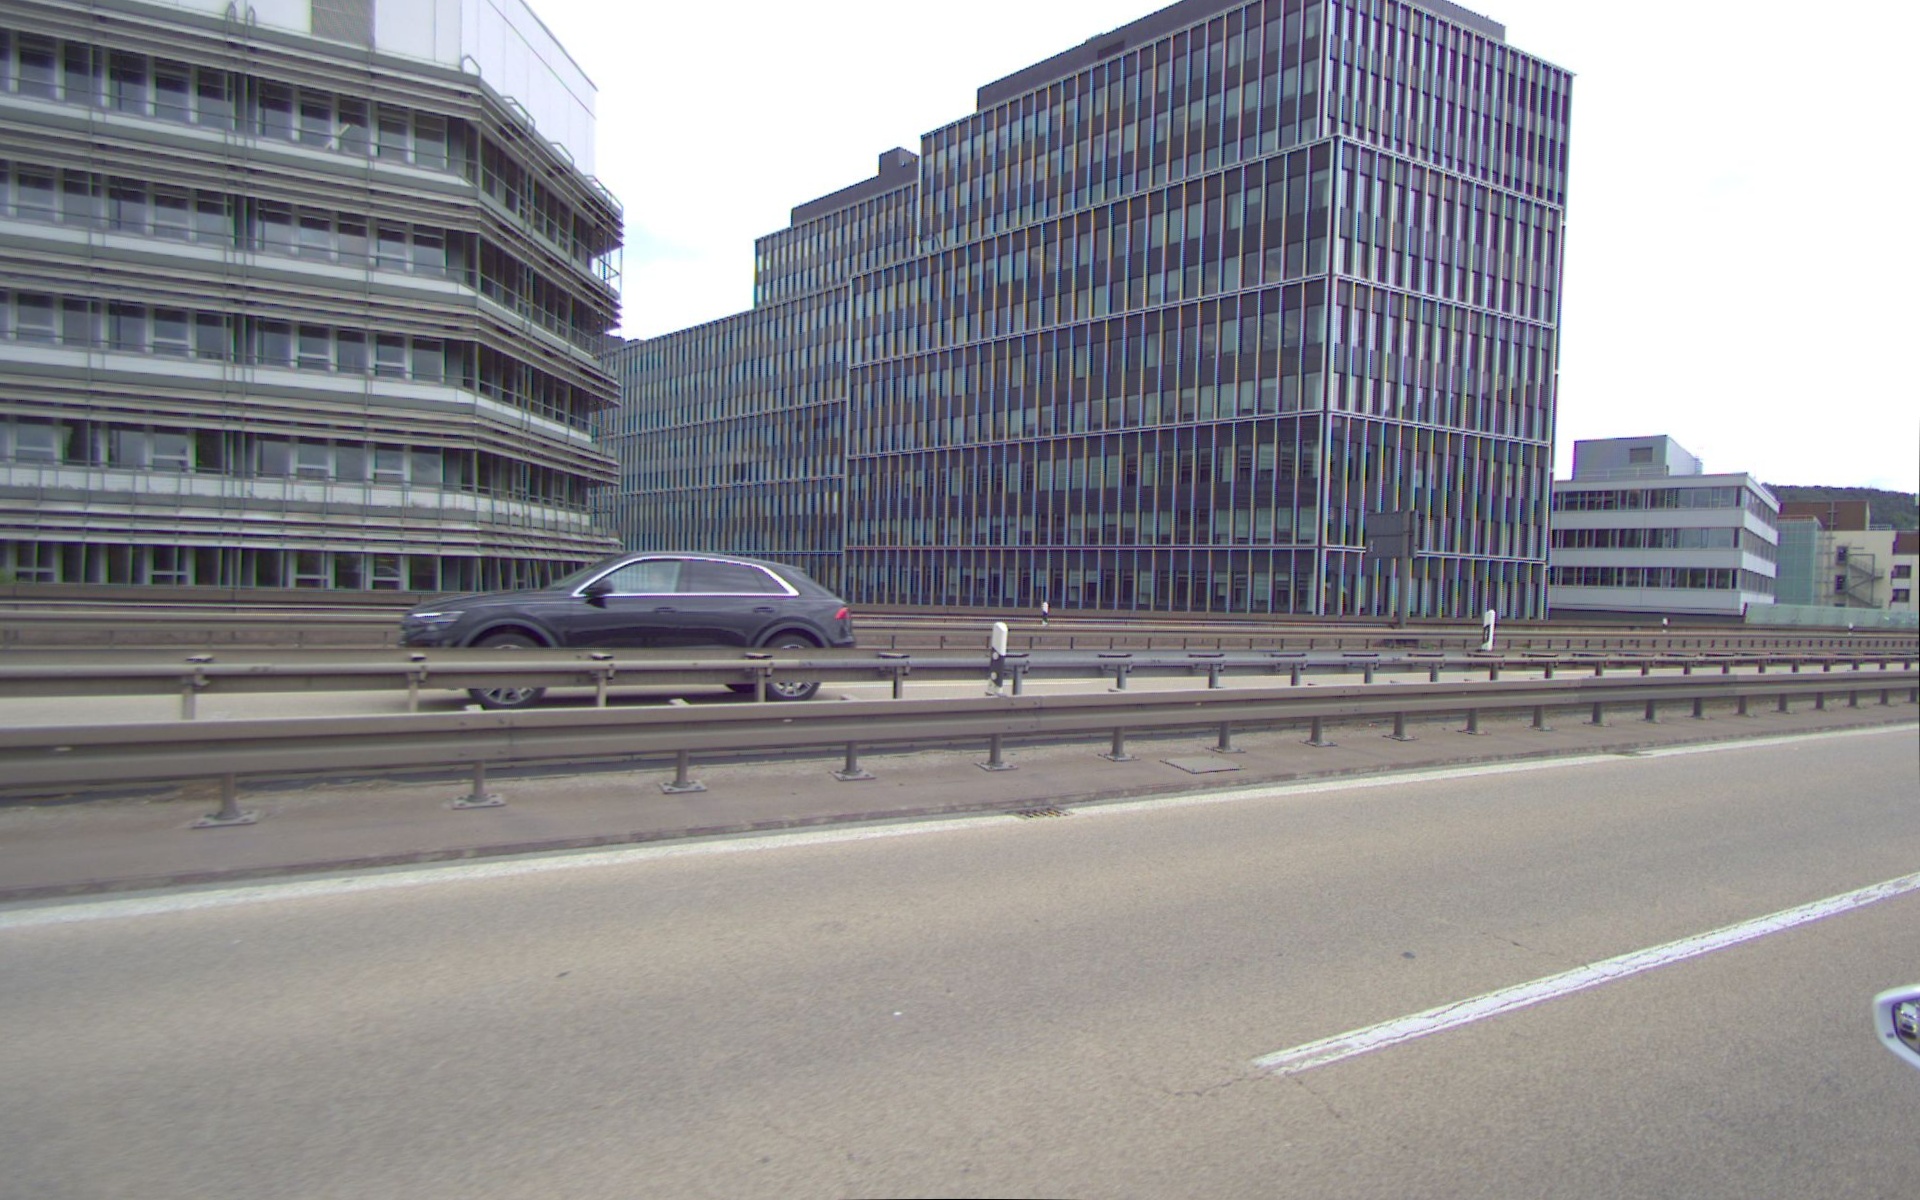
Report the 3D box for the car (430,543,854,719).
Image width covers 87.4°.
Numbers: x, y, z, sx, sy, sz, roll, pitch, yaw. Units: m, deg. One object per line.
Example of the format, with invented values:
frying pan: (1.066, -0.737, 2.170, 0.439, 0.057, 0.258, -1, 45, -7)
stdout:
car: (-3.545, 0.326, 11.373, 4.283, 1.672, 1.754, 2, 2, -29)
